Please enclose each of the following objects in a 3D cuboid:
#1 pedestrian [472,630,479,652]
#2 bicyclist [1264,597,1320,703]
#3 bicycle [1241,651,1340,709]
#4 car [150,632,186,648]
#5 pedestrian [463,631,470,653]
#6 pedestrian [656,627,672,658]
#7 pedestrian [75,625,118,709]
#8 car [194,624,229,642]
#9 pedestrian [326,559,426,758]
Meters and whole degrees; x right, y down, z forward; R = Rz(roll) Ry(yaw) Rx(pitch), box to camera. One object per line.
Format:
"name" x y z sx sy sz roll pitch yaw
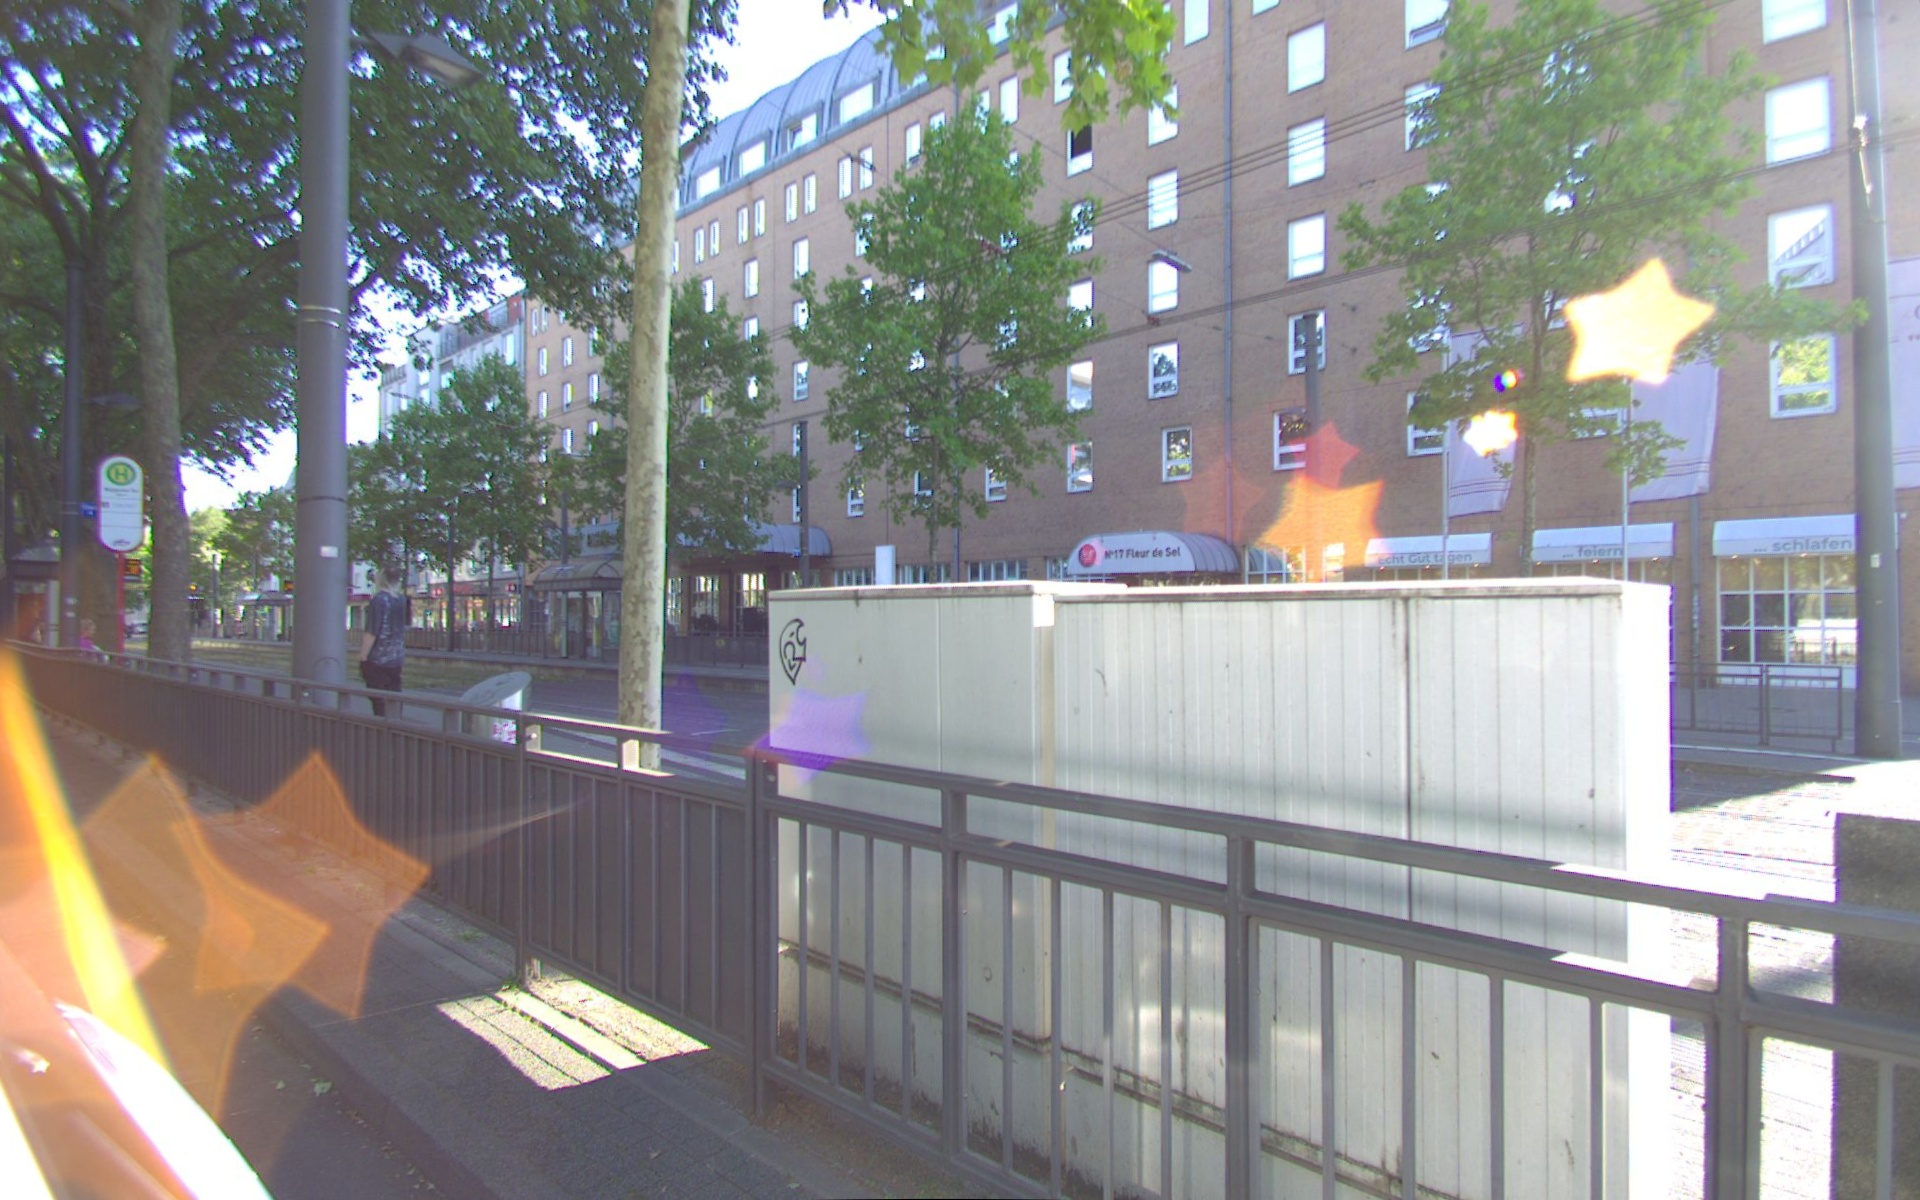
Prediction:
"pedestrian" -33.847 2.847 70.685 0.431 1.532 0.660 1 -2 -27
"bicyclist" 6.196 0.918 18.898 0.564 1.918 0.814 2 -2 -43
"bicycle" 6.185 1.480 19.005 0.444 1.012 1.754 2 -2 -44
"car" -77.116 3.893 98.516 3.999 1.530 1.972 -1 -4 42
"pedestrian" -34.271 2.882 70.316 0.431 1.518 0.660 1 -2 -27
"pedestrian" -14.309 2.050 48.919 0.516 1.447 0.512 -2 -2 44
"pedestrian" -13.944 1.065 16.345 0.493 1.325 0.419 1 -2 -41
"car" -74.819 3.262 101.143 3.998 1.719 1.972 -1 -2 42
"pedestrian" -5.790 0.551 10.047 0.620 1.897 0.601 1 0 27
